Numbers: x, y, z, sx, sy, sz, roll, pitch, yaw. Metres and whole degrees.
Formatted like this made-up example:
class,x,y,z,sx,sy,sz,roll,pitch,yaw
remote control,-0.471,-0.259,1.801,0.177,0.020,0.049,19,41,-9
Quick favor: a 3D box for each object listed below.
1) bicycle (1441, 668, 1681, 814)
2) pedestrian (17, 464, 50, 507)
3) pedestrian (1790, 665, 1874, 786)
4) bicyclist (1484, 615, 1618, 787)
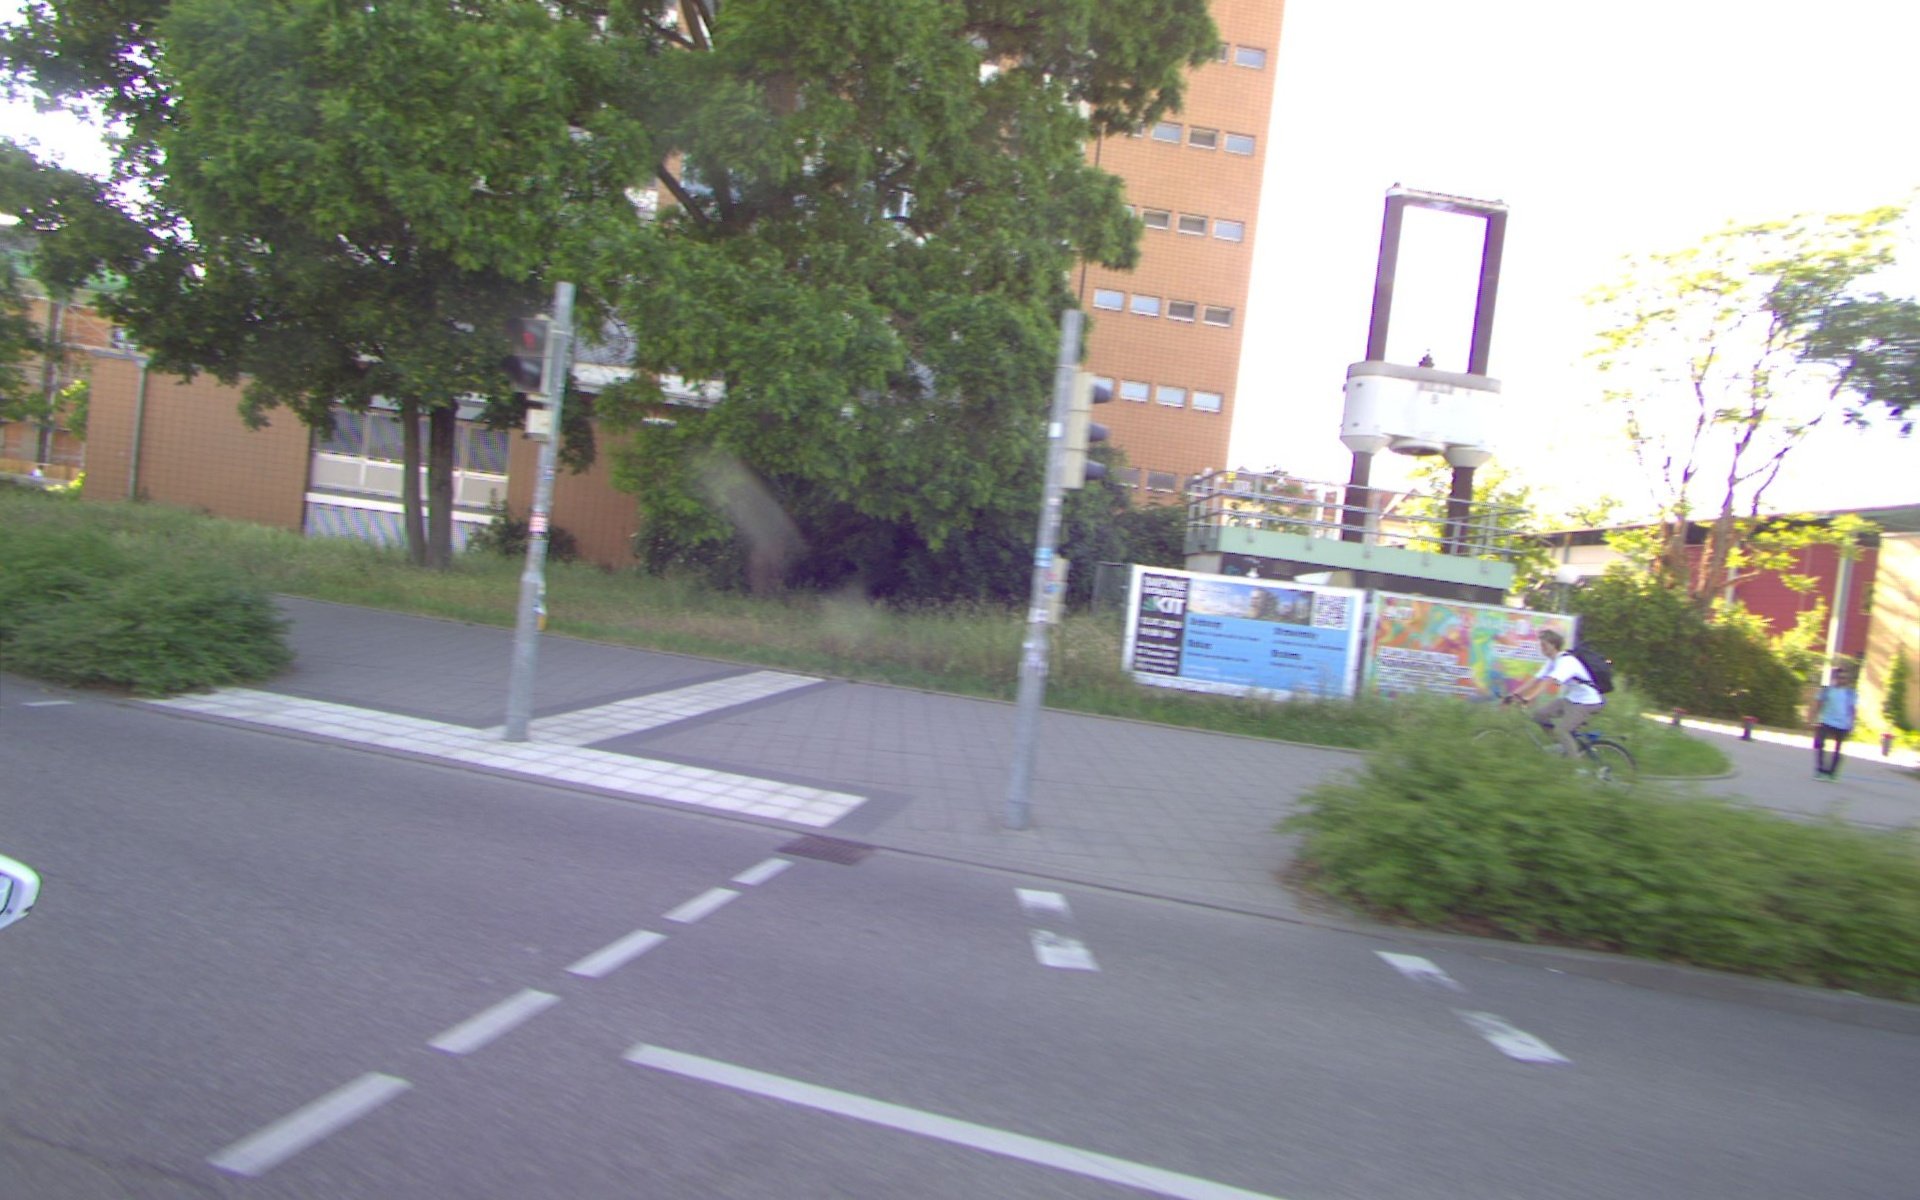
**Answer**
class,x,y,z,sx,sy,sz,roll,pitch,yaw
bicycle,6.175,1.433,10.431,1.920,1.181,0.642,6,4,6
pedestrian,-41.628,-5.132,45.212,0.775,1.774,0.538,9,2,-2
pedestrian,13.048,1.867,15.083,0.667,1.663,0.733,10,2,36
bicyclist,6.083,1.021,10.408,0.816,1.618,0.630,6,4,6
